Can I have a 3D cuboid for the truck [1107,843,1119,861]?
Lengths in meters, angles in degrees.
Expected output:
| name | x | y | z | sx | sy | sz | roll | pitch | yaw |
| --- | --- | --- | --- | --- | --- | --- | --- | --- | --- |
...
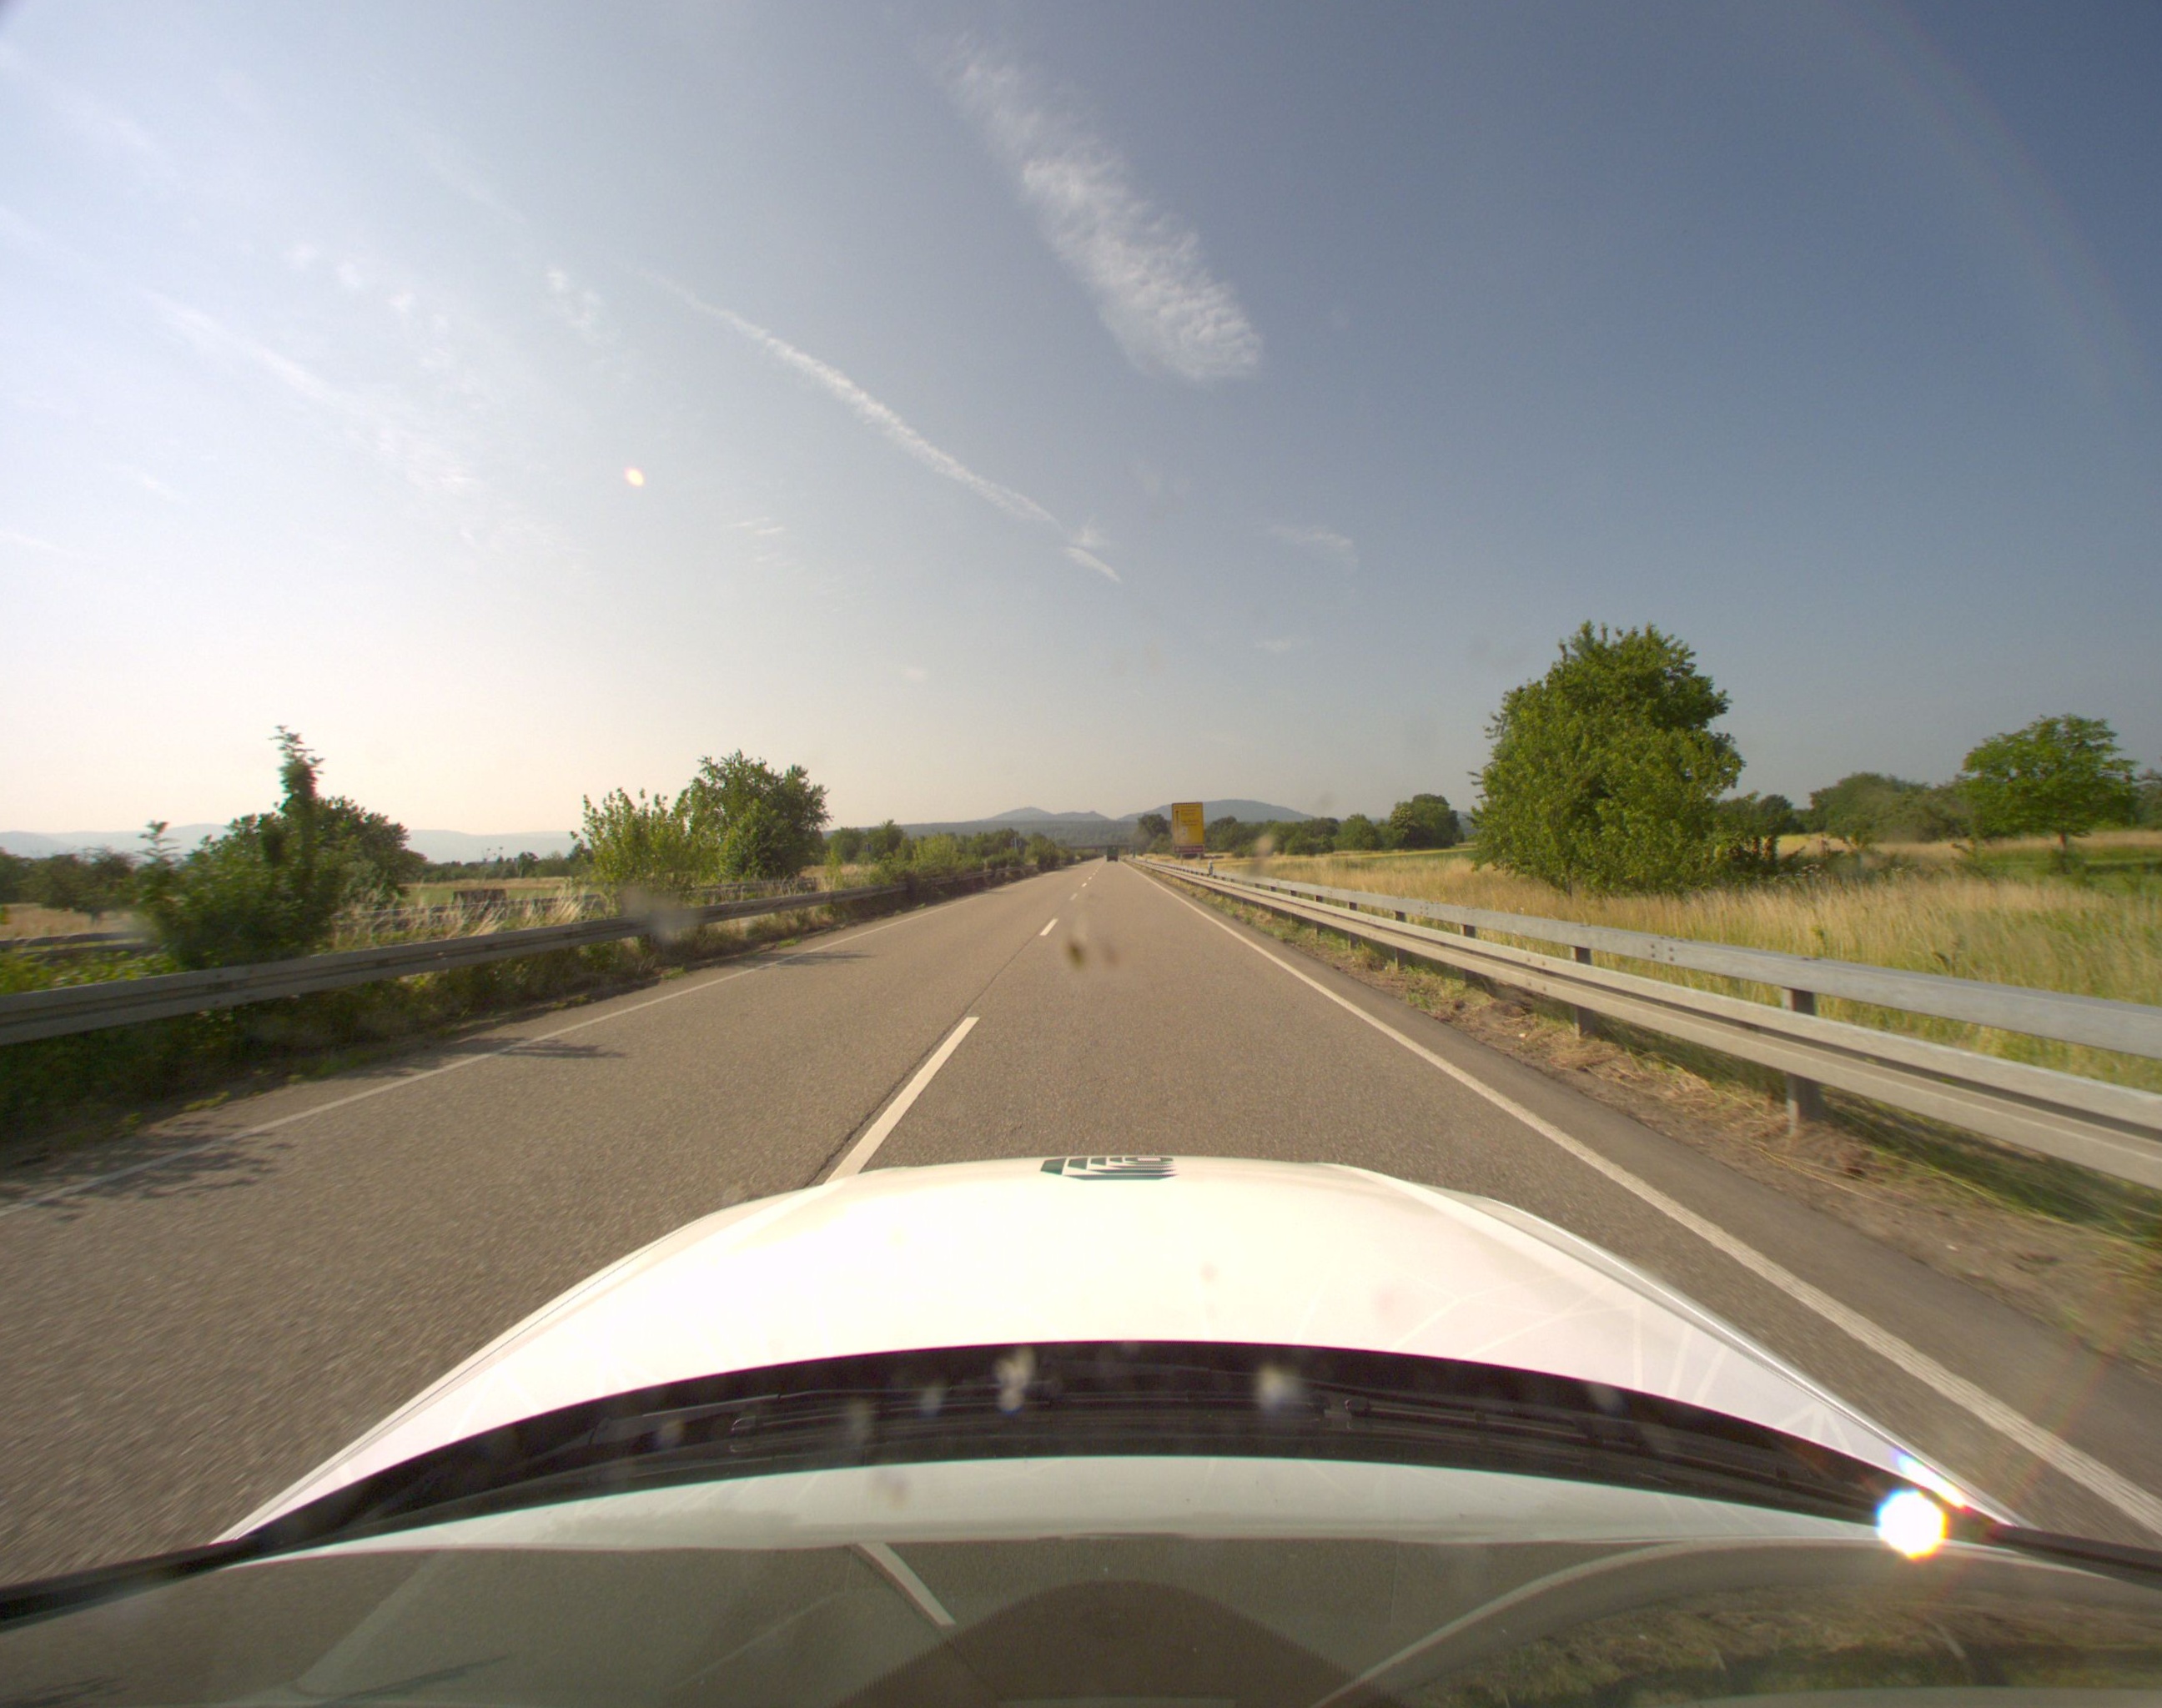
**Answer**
| name | x | y | z | sx | sy | sz | roll | pitch | yaw |
| --- | --- | --- | --- | --- | --- | --- | --- | --- | --- |
| truck | 7.305 | -0.493 | 184.063 | 2.711 | 3.965 | 10.423 | 0 | 1 | 2 |
